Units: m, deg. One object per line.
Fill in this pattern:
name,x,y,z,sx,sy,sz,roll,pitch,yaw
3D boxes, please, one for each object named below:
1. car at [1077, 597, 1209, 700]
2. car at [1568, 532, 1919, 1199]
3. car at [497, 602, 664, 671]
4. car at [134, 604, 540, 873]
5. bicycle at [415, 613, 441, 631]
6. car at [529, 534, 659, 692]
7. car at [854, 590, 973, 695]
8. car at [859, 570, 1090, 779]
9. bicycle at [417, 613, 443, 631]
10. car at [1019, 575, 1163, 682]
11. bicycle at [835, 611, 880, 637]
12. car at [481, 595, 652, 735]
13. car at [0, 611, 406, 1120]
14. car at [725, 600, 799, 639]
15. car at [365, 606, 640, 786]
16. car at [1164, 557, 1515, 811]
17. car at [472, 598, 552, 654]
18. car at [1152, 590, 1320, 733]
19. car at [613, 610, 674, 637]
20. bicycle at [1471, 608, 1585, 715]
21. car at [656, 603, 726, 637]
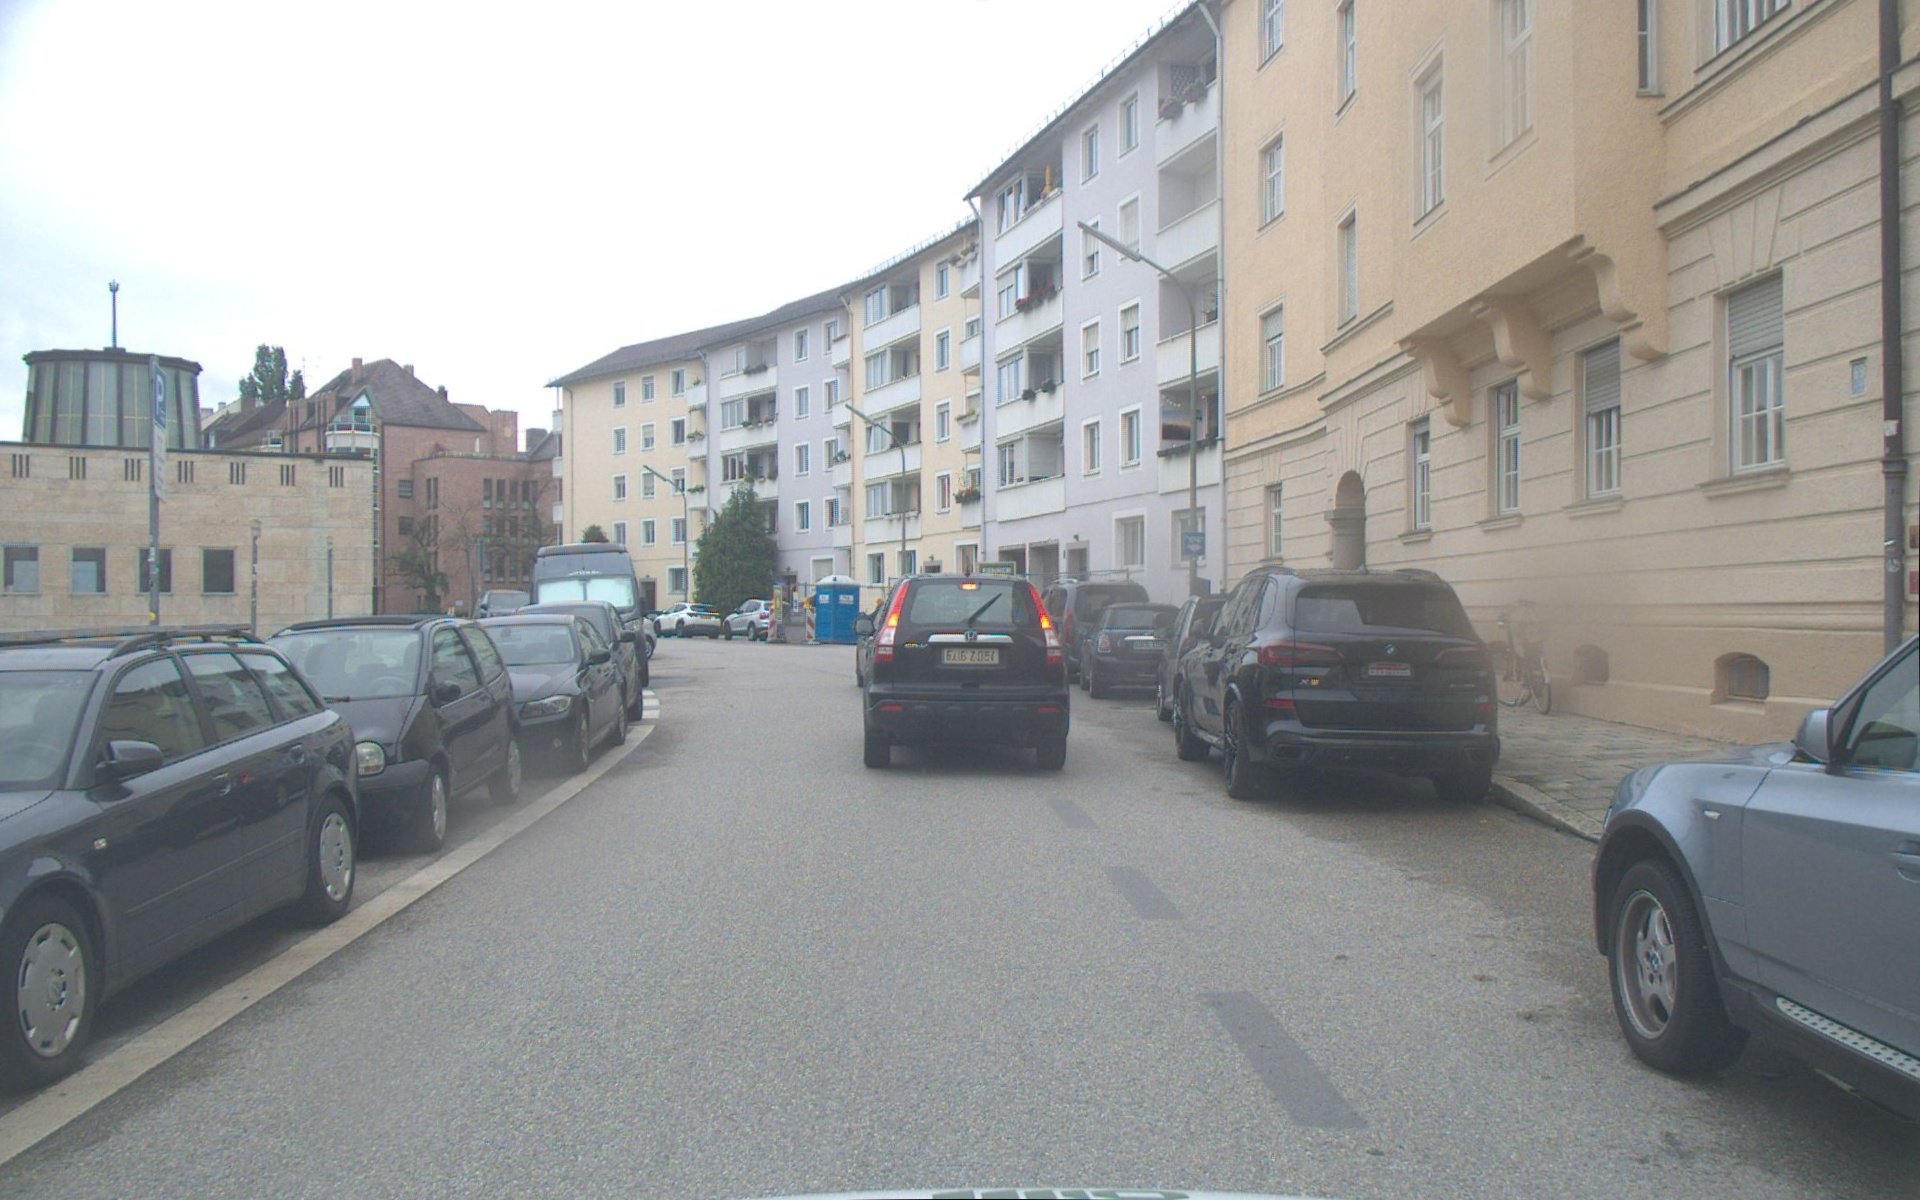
car,2.820,0.720,26.160,1.673,1.472,3.830,1,0,1
car,3.165,0.664,3.988,1.687,1.663,4.456,0,0,-1
car,-9.918,0.937,43.463,1.652,1.507,4.068,-5,-1,38
car,-4.026,0.803,11.245,1.624,1.479,3.310,-2,0,-4
bicycle,-38.838,1.597,120.801,1.736,1.311,0.547,0,-1,-32
car,-7.069,0.207,31.575,2.128,2.688,5.994,-2,0,-14
car,-0.809,0.626,26.050,1.646,1.507,4.082,0,0,-5
car,0.003,0.606,15.386,1.853,1.676,3.988,0,0,-4
bicycle,-38.506,1.568,120.229,1.736,1.311,0.547,0,-1,-32
car,2.366,0.502,30.994,1.745,1.838,4.267,1,0,-9
bicycle,-4.375,1.008,70.473,1.840,1.110,0.561,0,-1,-23
car,-4.762,0.739,20.355,1.638,1.528,2.973,-2,0,-6
car,-3.759,0.832,6.494,1.719,1.479,4.395,-2,0,-1
car,-8.116,0.786,67.516,1.705,1.509,3.963,1,0,-28
car,-4.276,0.816,16.156,1.764,1.430,4.450,-2,0,-5
car,2.970,0.600,14.060,1.831,1.747,4.865,1,0,0
car,-14.749,0.823,54.339,1.659,1.737,4.473,0,0,-27
car,3.213,0.682,19.729,1.503,1.550,3.111,1,0,1
car,-15.400,1.144,80.361,1.683,1.258,3.559,1,0,-34
bicycle,6.432,0.667,18.823,0.567,1.102,1.953,-3,0,-1
car,-12.431,0.916,76.190,1.709,1.509,3.952,1,0,-34
